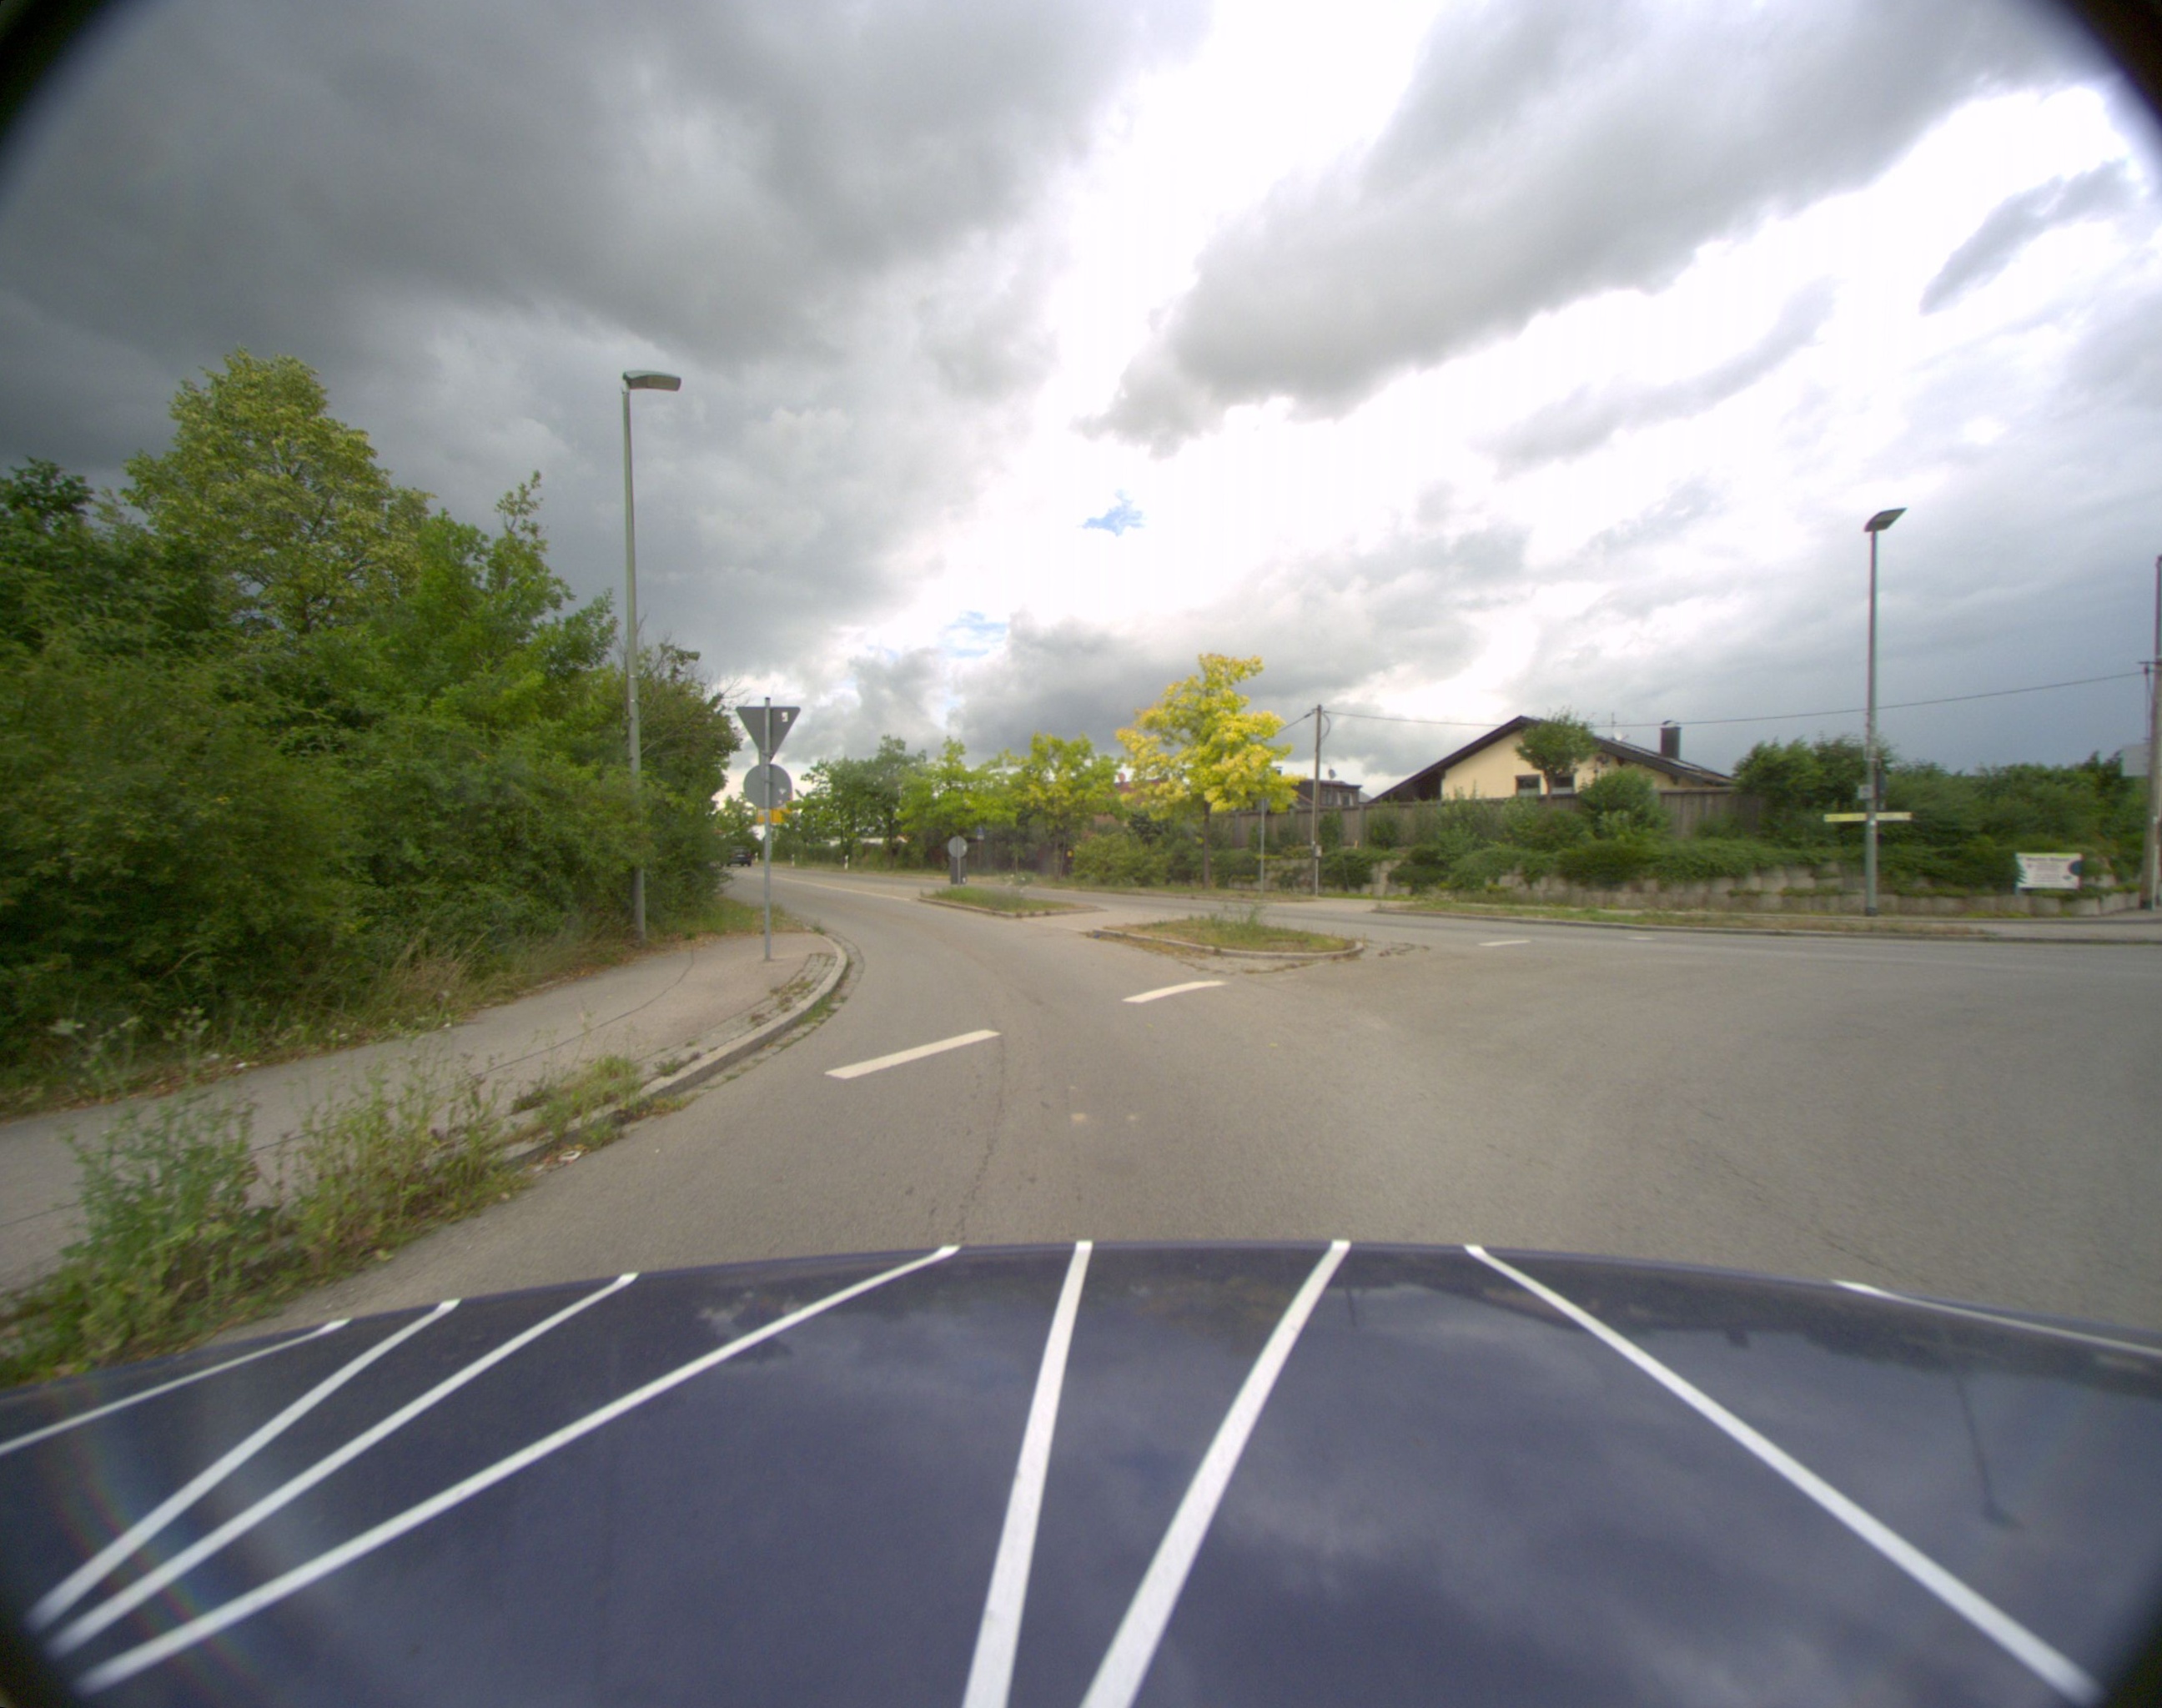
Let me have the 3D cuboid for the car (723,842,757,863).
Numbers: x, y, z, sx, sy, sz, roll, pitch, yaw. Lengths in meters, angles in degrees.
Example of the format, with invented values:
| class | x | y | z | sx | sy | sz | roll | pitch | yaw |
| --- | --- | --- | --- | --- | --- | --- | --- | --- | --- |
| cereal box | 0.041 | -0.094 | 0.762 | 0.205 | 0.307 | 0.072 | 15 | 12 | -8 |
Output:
| class | x | y | z | sx | sy | sz | roll | pitch | yaw |
| --- | --- | --- | --- | --- | --- | --- | --- | --- | --- |
| car | -27.444 | -0.150 | 61.070 | 1.747 | 1.576 | 4.344 | 1 | 0 | -35 |
